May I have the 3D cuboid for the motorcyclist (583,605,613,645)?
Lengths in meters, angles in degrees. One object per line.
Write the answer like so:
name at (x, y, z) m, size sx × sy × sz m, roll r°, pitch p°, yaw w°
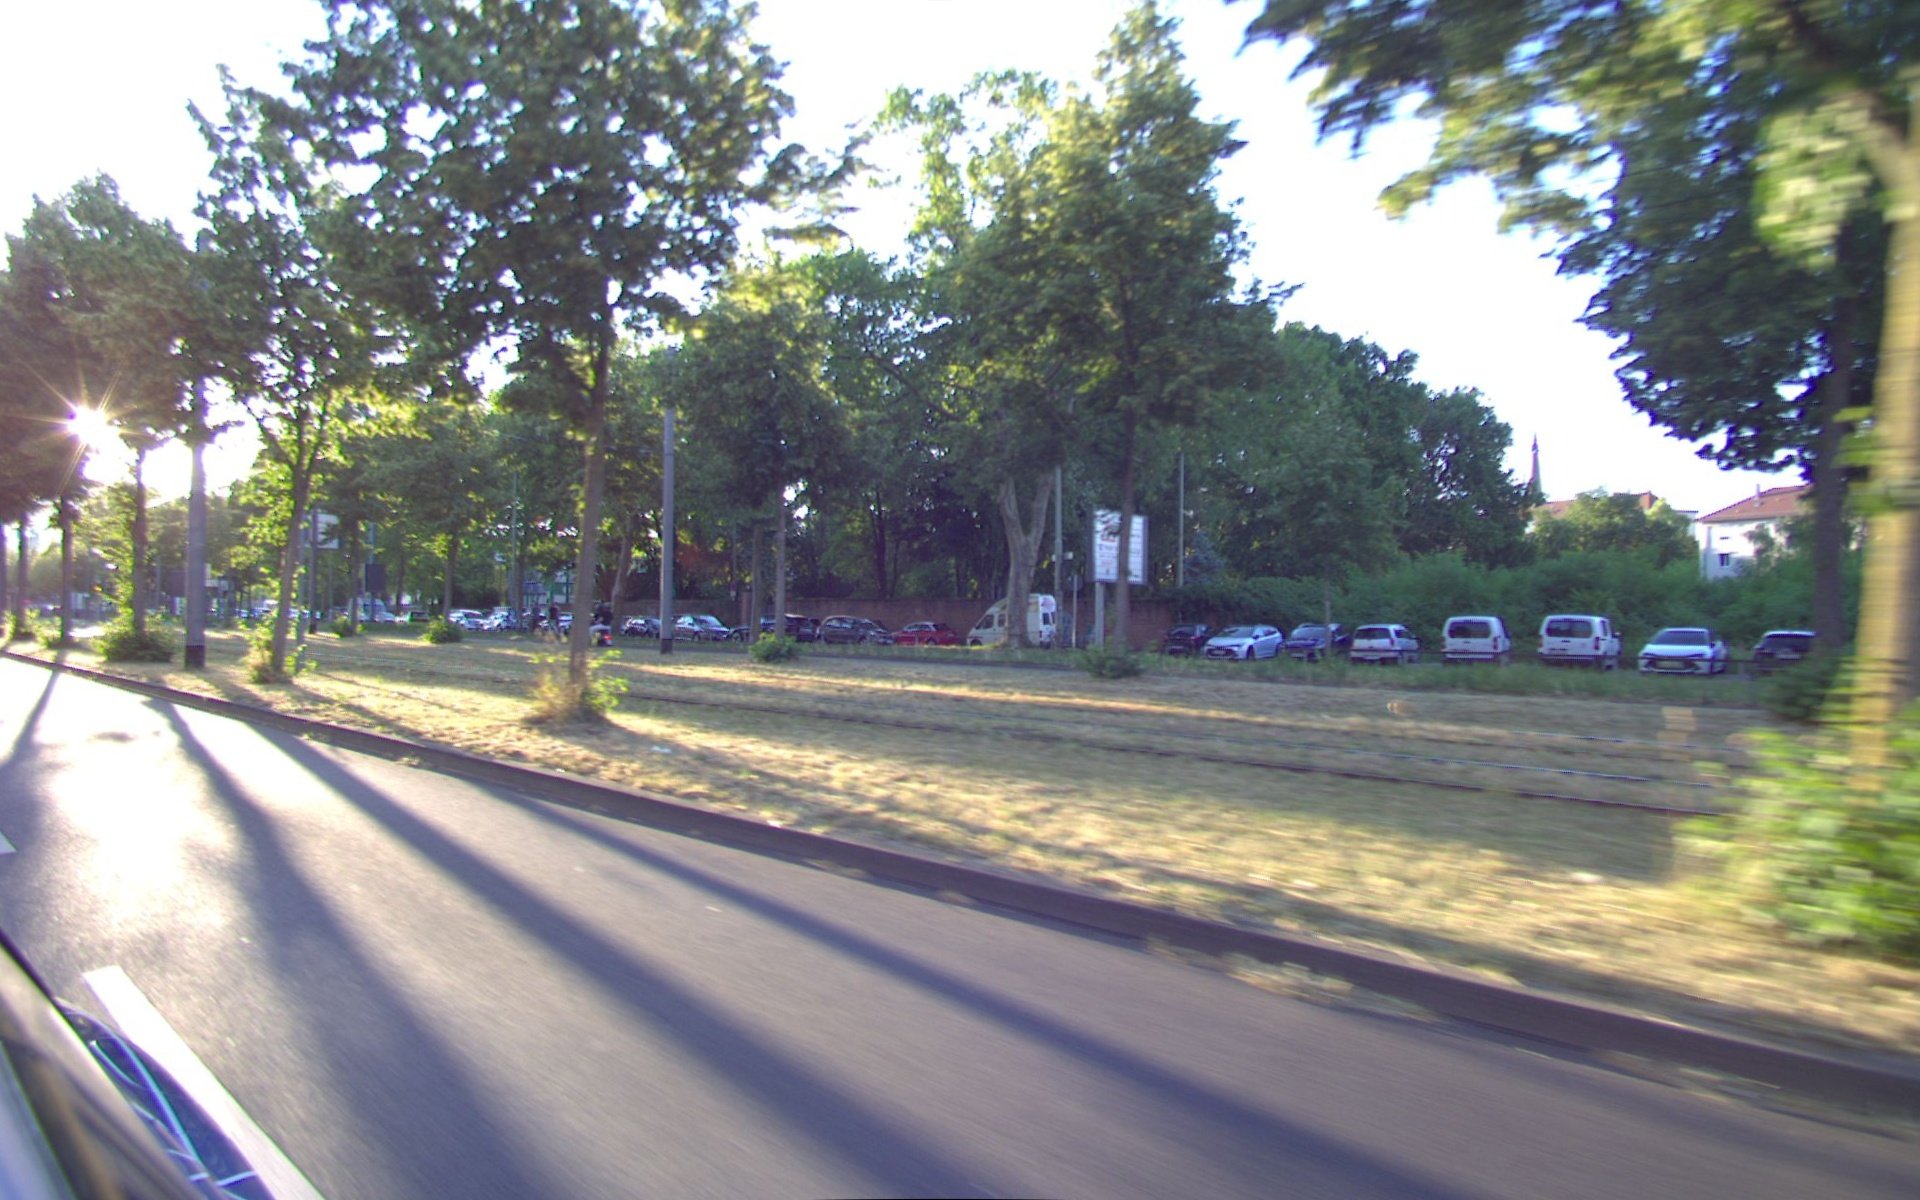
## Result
motorcyclist at (-12.998, 0.895, 36.329) m, size 0.804 × 1.386 × 0.674 m, roll 0°, pitch -2°, yaw 40°

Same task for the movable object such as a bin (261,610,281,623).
movable object such as a bin at (-73.952, 1.749, 108.622) m, size 1.701 × 1.422 × 1.393 m, roll -1°, pitch -2°, yaw 42°

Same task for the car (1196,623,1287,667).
car at (11.110, 1.729, 39.793) m, size 1.922 × 1.652 × 3.944 m, roll -1°, pitch -2°, yaw 42°

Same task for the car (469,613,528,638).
car at (-29.763, 1.634, 65.274) m, size 4.305 × 1.511 × 1.880 m, roll 0°, pitch -1°, yaw 42°

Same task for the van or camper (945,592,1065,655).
van or camper at (2.053, 1.068, 47.361) m, size 5.489 × 2.756 × 2.064 m, roll 0°, pitch -1°, yaw 39°

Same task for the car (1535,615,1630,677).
car at (20.109, 1.428, 32.645) m, size 2.011 × 1.858 × 3.945 m, roll -1°, pitch -1°, yaw 41°

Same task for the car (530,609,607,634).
car at (-22.267, 1.187, 57.468) m, size 5.140 × 1.325 × 1.972 m, roll 0°, pitch -1°, yaw 42°

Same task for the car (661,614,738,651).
car at (-13.254, 1.616, 51.317) m, size 1.970 × 1.763 × 4.163 m, roll 2°, pitch -2°, yaw -44°

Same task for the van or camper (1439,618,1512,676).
van or camper at (17.529, 1.543, 34.342) m, size 1.992 × 1.805 × 3.959 m, roll 0°, pitch -2°, yaw 30°

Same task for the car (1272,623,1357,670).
car at (13.303, 1.682, 37.854) m, size 1.919 × 1.652 × 3.950 m, roll 0°, pitch -1°, yaw 37°

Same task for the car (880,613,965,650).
car at (-1.922, 1.541, 50.824) m, size 3.997 × 1.763 × 1.973 m, roll 0°, pitch -1°, yaw 40°

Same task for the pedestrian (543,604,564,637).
pedestrian at (-22.421, 1.134, 55.789) m, size 0.864 × 1.772 × 0.687 m, roll 0°, pitch -1°, yaw 33°

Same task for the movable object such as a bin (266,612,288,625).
movable object such as a bin at (-71.890, 1.925, 106.534) m, size 1.724 × 1.383 × 1.536 m, roll -1°, pitch -2°, yaw 42°

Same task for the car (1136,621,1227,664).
car at (9.049, 1.687, 41.238) m, size 1.922 × 1.652 × 3.943 m, roll -1°, pitch -2°, yaw 43°

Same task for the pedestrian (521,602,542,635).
pedestrian at (-23.250, 1.005, 54.887) m, size 0.865 × 1.756 × 0.686 m, roll 0°, pitch -2°, yaw 39°

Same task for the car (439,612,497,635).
car at (-33.584, 1.584, 69.074) m, size 4.555 × 1.510 × 1.972 m, roll 0°, pitch -1°, yaw 42°

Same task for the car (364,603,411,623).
car at (-46.958, 1.073, 82.954) m, size 4.205 × 1.649 × 1.974 m, roll 0°, pitch -2°, yaw 39°

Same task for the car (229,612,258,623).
car at (-86.066, 2.106, 121.571) m, size 4.088 × 1.210 × 1.972 m, roll -1°, pitch -2°, yaw 42°

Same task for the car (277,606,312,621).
car at (-68.205, 1.425, 103.725) m, size 4.298 × 1.512 × 1.972 m, roll -1°, pitch -2°, yaw 42°

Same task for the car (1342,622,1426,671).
car at (15.428, 1.641, 36.744) m, size 1.919 × 1.652 × 3.950 m, roll 0°, pitch -1°, yaw 37°

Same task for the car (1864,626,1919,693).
car at (25.505, 1.540, 26.836) m, size 1.919 × 1.652 × 3.950 m, roll 0°, pitch -1°, yaw 37°

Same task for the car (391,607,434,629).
car at (-41.820, 1.388, 77.221) m, size 1.969 × 1.652 × 4.005 m, roll 2°, pitch -2°, yaw -42°

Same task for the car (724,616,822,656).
car at (-8.838, 1.668, 47.675) m, size 4.787 × 1.763 × 1.973 m, roll 0°, pitch -1°, yaw 40°

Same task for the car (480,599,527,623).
car at (-39.921, 0.997, 88.453) m, size 5.060 × 2.029 × 1.971 m, roll -1°, pitch -2°, yaw 44°

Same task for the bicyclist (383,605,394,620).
bicyclist at (-59.172, 1.300, 104.783) m, size 0.720 × 1.545 × 1.086 m, roll 2°, pitch -2°, yaw -44°

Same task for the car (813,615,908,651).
car at (-4.387, 1.431, 44.474) m, size 3.998 × 1.497 × 1.973 m, roll 0°, pitch -1°, yaw 41°

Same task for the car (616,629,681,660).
car at (-16.956, 2.408, 55.014) m, size 1.782 × 1.572 × 3.841 m, roll 2°, pitch -2°, yaw -44°

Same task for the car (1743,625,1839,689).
car at (23.574, 1.554, 28.825) m, size 1.919 × 1.652 × 3.950 m, roll 0°, pitch -1°, yaw 37°

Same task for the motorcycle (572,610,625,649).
motorcycle at (-12.996, 1.053, 36.324) m, size 2.343 × 1.347 × 0.675 m, roll 0°, pitch -2°, yaw 40°

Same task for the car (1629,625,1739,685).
car at (21.817, 1.597, 30.450) m, size 3.939 × 1.652 × 1.924 m, roll 2°, pitch -2°, yaw -43°

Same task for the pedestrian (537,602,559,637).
pedestrian at (-22.339, 1.073, 54.849) m, size 0.864 × 1.884 × 0.687 m, roll 0°, pitch -1°, yaw 33°

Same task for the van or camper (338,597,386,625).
van or camper at (-52.123, 0.966, 88.212) m, size 2.258 × 2.383 × 5.786 m, roll 2°, pitch -2°, yaw -45°
